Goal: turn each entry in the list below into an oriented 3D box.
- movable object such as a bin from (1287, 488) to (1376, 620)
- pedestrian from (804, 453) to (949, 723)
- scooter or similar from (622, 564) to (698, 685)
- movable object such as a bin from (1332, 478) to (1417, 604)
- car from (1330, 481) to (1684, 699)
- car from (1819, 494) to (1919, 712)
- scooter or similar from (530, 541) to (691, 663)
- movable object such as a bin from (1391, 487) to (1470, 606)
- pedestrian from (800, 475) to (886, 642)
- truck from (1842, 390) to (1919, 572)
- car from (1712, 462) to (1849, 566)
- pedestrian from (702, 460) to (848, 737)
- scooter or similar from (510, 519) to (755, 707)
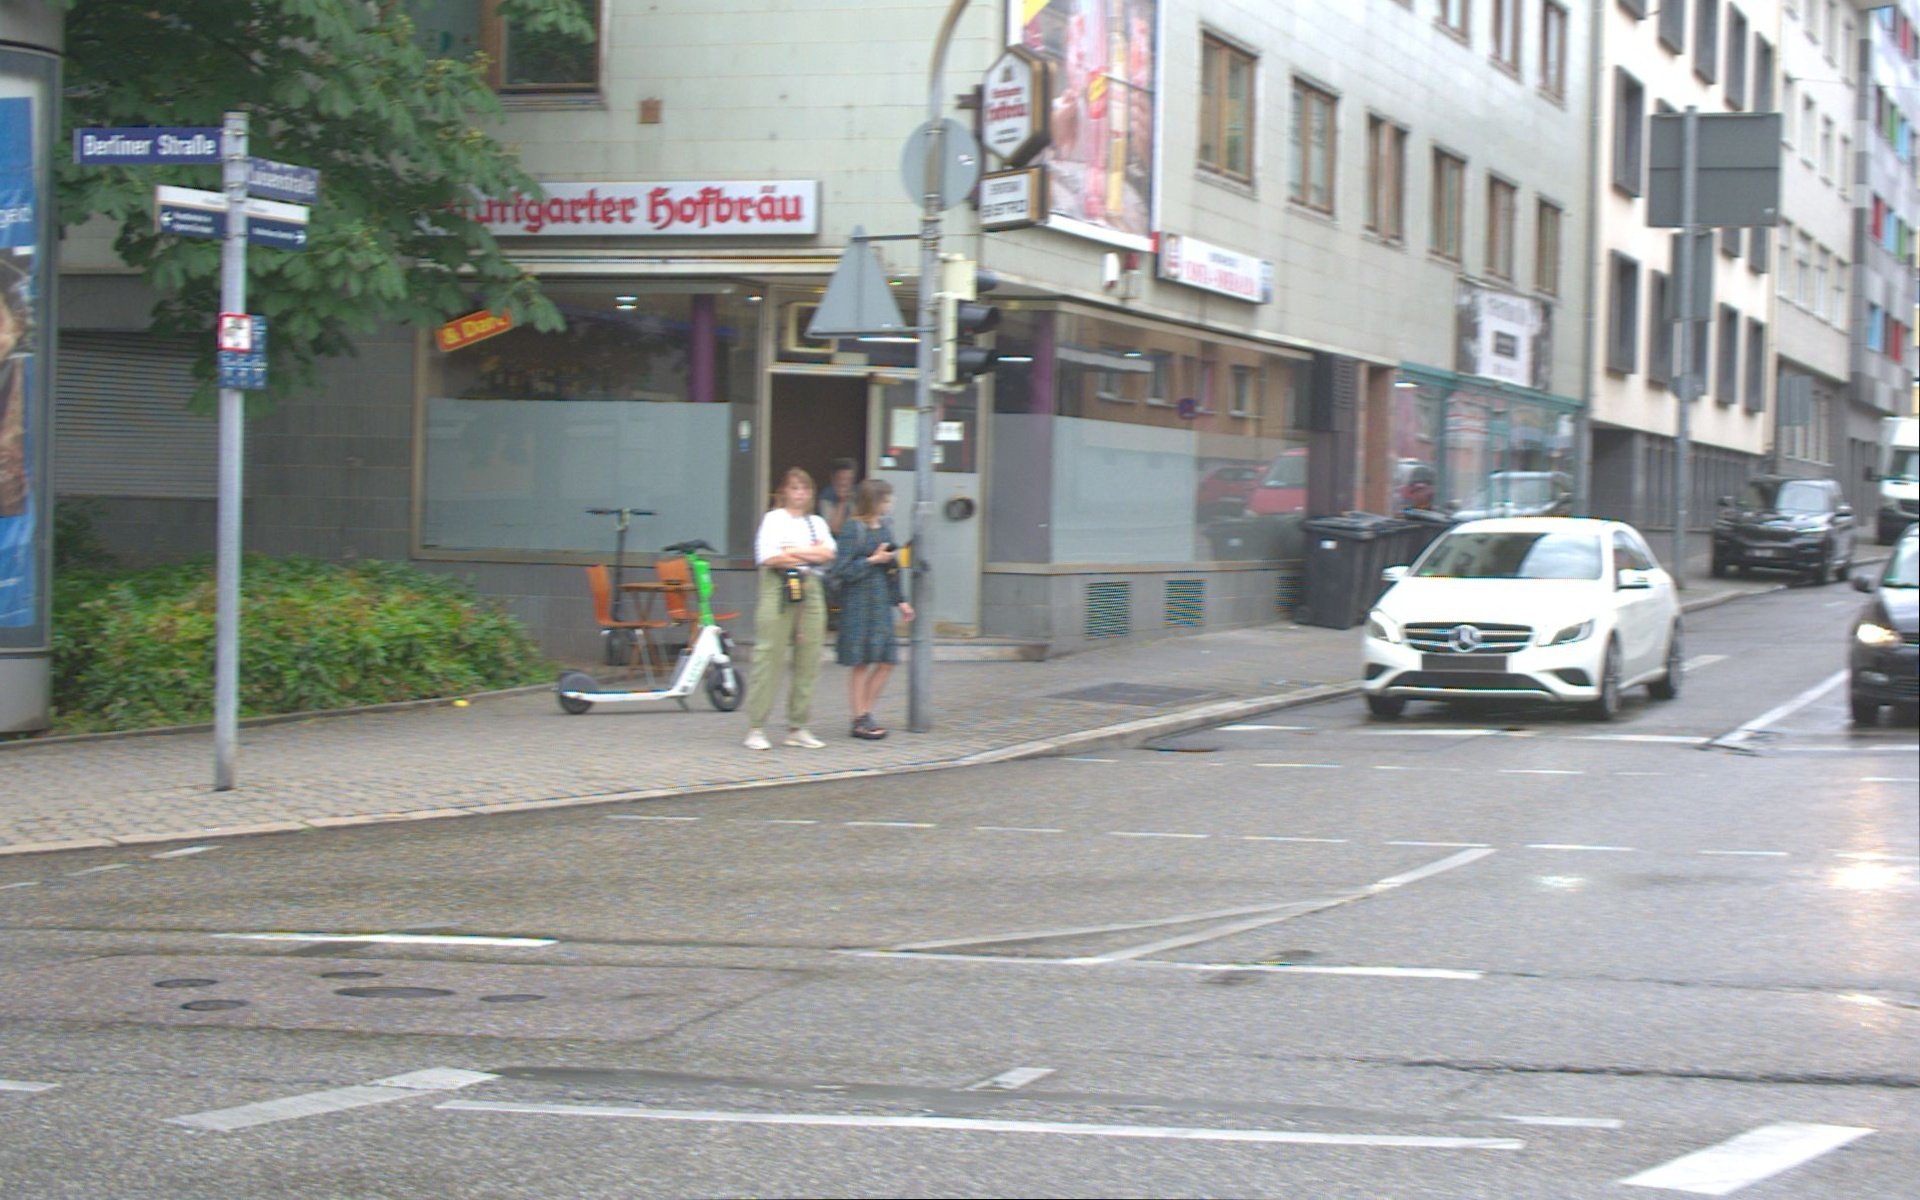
[{"bbox_3d":[3.790,-0.461,35.028,0.698,1.311,0.782,2,0,19],"label":"movable object such as a bin"},{"bbox_3d":[-0.533,-0.085,21.693,0.707,1.641,0.759,0,4,-16],"label":"pedestrian"},{"bbox_3d":[-2.168,0.166,24.950,0.458,0.840,1.322,2,0,-2],"label":"scooter or similar"},{"bbox_3d":[4.436,-0.625,36.765,0.698,1.311,0.782,2,0,19],"label":"movable object such as a bin"},{"bbox_3d":[4.197,-0.091,25.878,1.846,1.507,3.996,0,1,21],"label":"car"},{"bbox_3d":[7.468,-0.010,25.132,1.846,1.484,3.996,0,1,21],"label":"car"},{"bbox_3d":[-2.584,0.006,25.324,0.548,0.840,1.465,2,0,-33],"label":"scooter or similar"},{"bbox_3d":[5.381,-0.607,39.306,0.698,1.311,0.782,2,0,19],"label":"movable object such as a bin"},{"bbox_3d":[-0.997,-0.349,29.255,0.519,1.395,0.578,2,0,17],"label":"pedestrian"},{"bbox_3d":[22.171,-2.576,78.278,2.811,3.819,8.134,2,0,22],"label":"truck"},{"bbox_3d":[13.260,-1.348,55.426,1.725,1.597,3.996,0,0,20],"label":"car"},{"bbox_3d":[-1.142,-0.020,21.075,0.707,1.641,0.759,0,4,-16],"label":"pedestrian"},{"bbox_3d":[-2.194,0.088,22.982,1.556,1.186,0.501,2,0,-9],"label":"scooter or similar"}]
